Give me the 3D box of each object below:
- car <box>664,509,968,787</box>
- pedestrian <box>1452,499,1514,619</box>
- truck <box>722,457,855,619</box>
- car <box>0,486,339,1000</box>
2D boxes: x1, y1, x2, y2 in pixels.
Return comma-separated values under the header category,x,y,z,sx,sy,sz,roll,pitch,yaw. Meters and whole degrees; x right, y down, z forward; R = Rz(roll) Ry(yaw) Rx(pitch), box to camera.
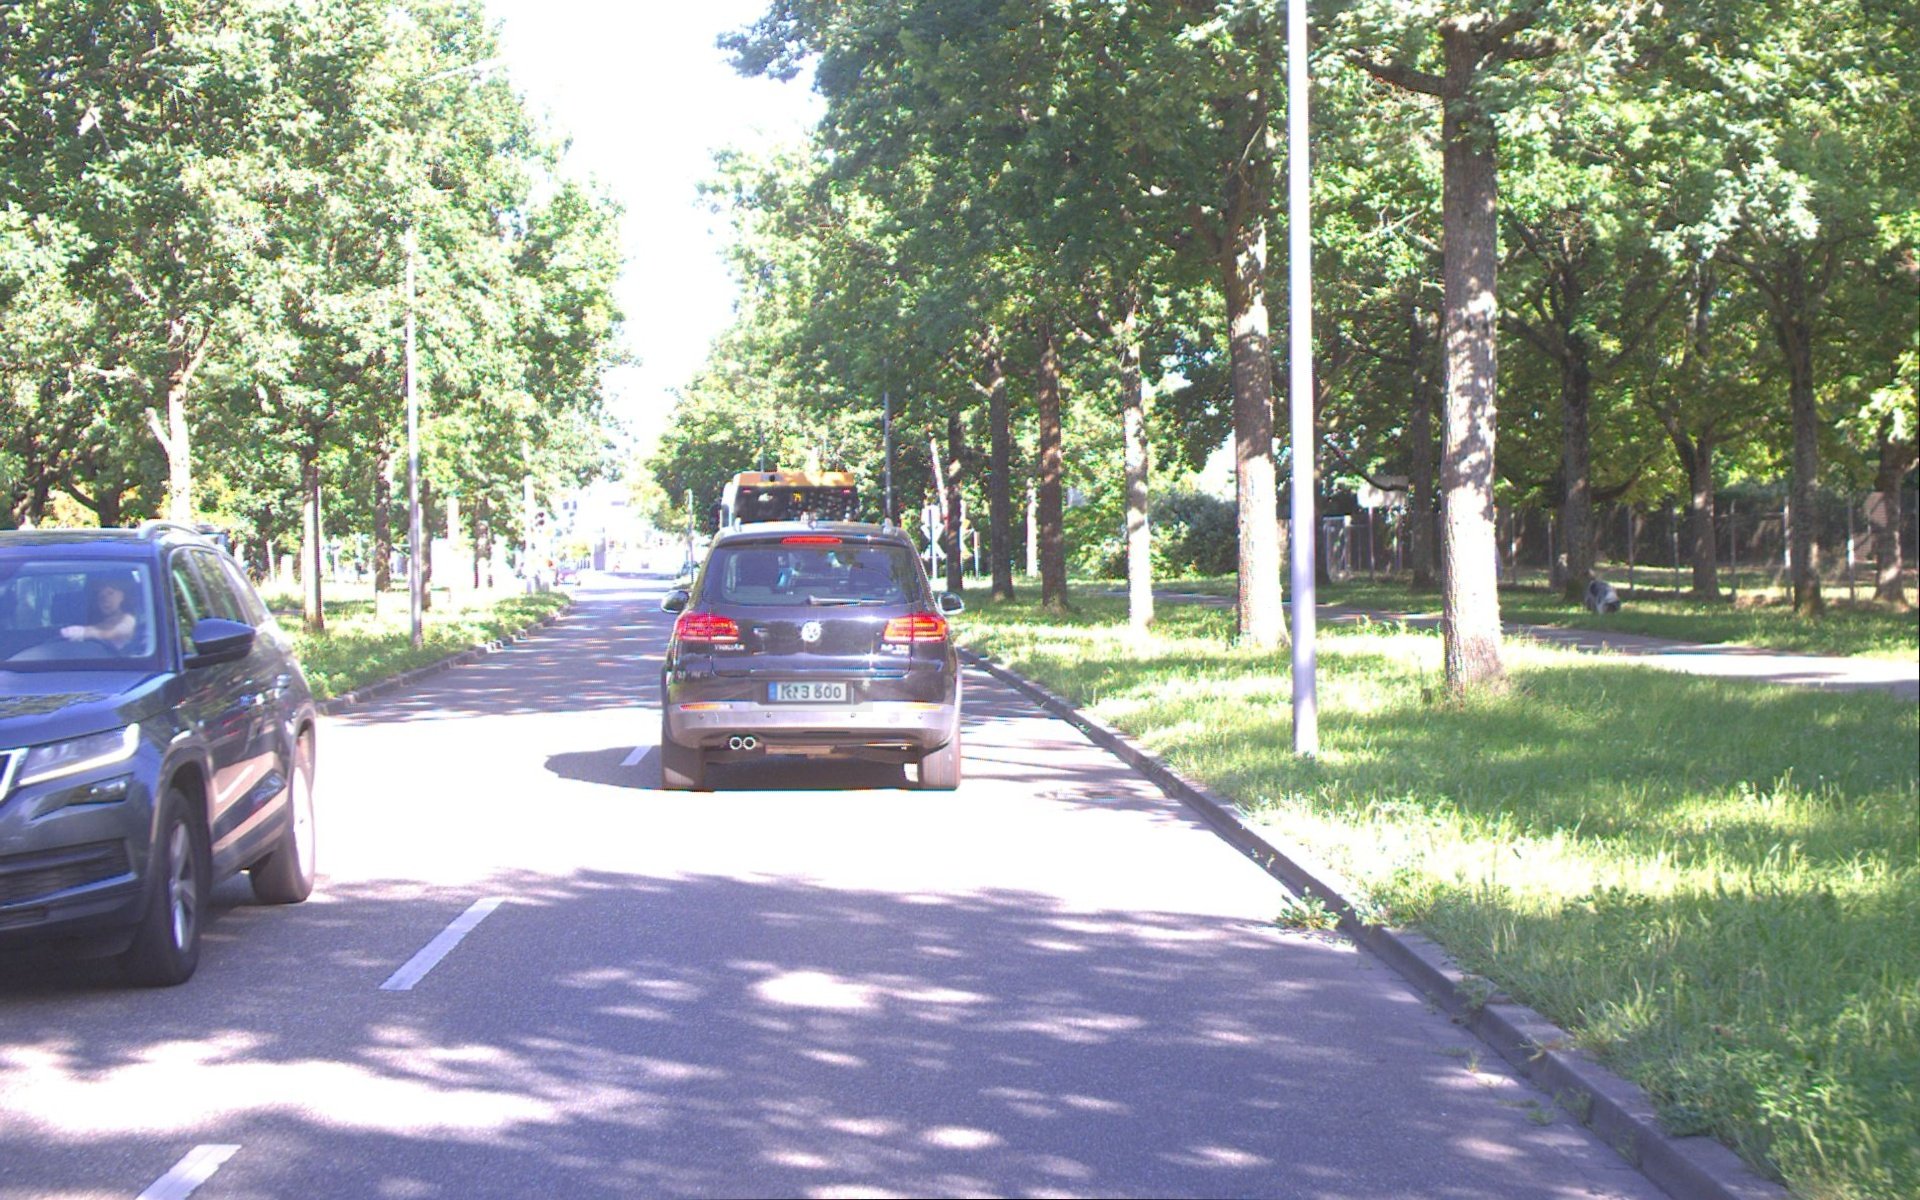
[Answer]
category,x,y,z,sx,sy,sz,roll,pitch,yaw
car,-1.014,0.269,22.366,1.782,1.628,4.001,1,0,-5
pedestrian,7.317,-0.572,48.068,0.717,1.625,0.609,-3,1,15
truck,-3.741,-1.300,73.520,2.511,3.232,8.153,-1,1,-5
car,-3.618,0.476,13.367,1.767,1.666,4.200,-2,1,-3
